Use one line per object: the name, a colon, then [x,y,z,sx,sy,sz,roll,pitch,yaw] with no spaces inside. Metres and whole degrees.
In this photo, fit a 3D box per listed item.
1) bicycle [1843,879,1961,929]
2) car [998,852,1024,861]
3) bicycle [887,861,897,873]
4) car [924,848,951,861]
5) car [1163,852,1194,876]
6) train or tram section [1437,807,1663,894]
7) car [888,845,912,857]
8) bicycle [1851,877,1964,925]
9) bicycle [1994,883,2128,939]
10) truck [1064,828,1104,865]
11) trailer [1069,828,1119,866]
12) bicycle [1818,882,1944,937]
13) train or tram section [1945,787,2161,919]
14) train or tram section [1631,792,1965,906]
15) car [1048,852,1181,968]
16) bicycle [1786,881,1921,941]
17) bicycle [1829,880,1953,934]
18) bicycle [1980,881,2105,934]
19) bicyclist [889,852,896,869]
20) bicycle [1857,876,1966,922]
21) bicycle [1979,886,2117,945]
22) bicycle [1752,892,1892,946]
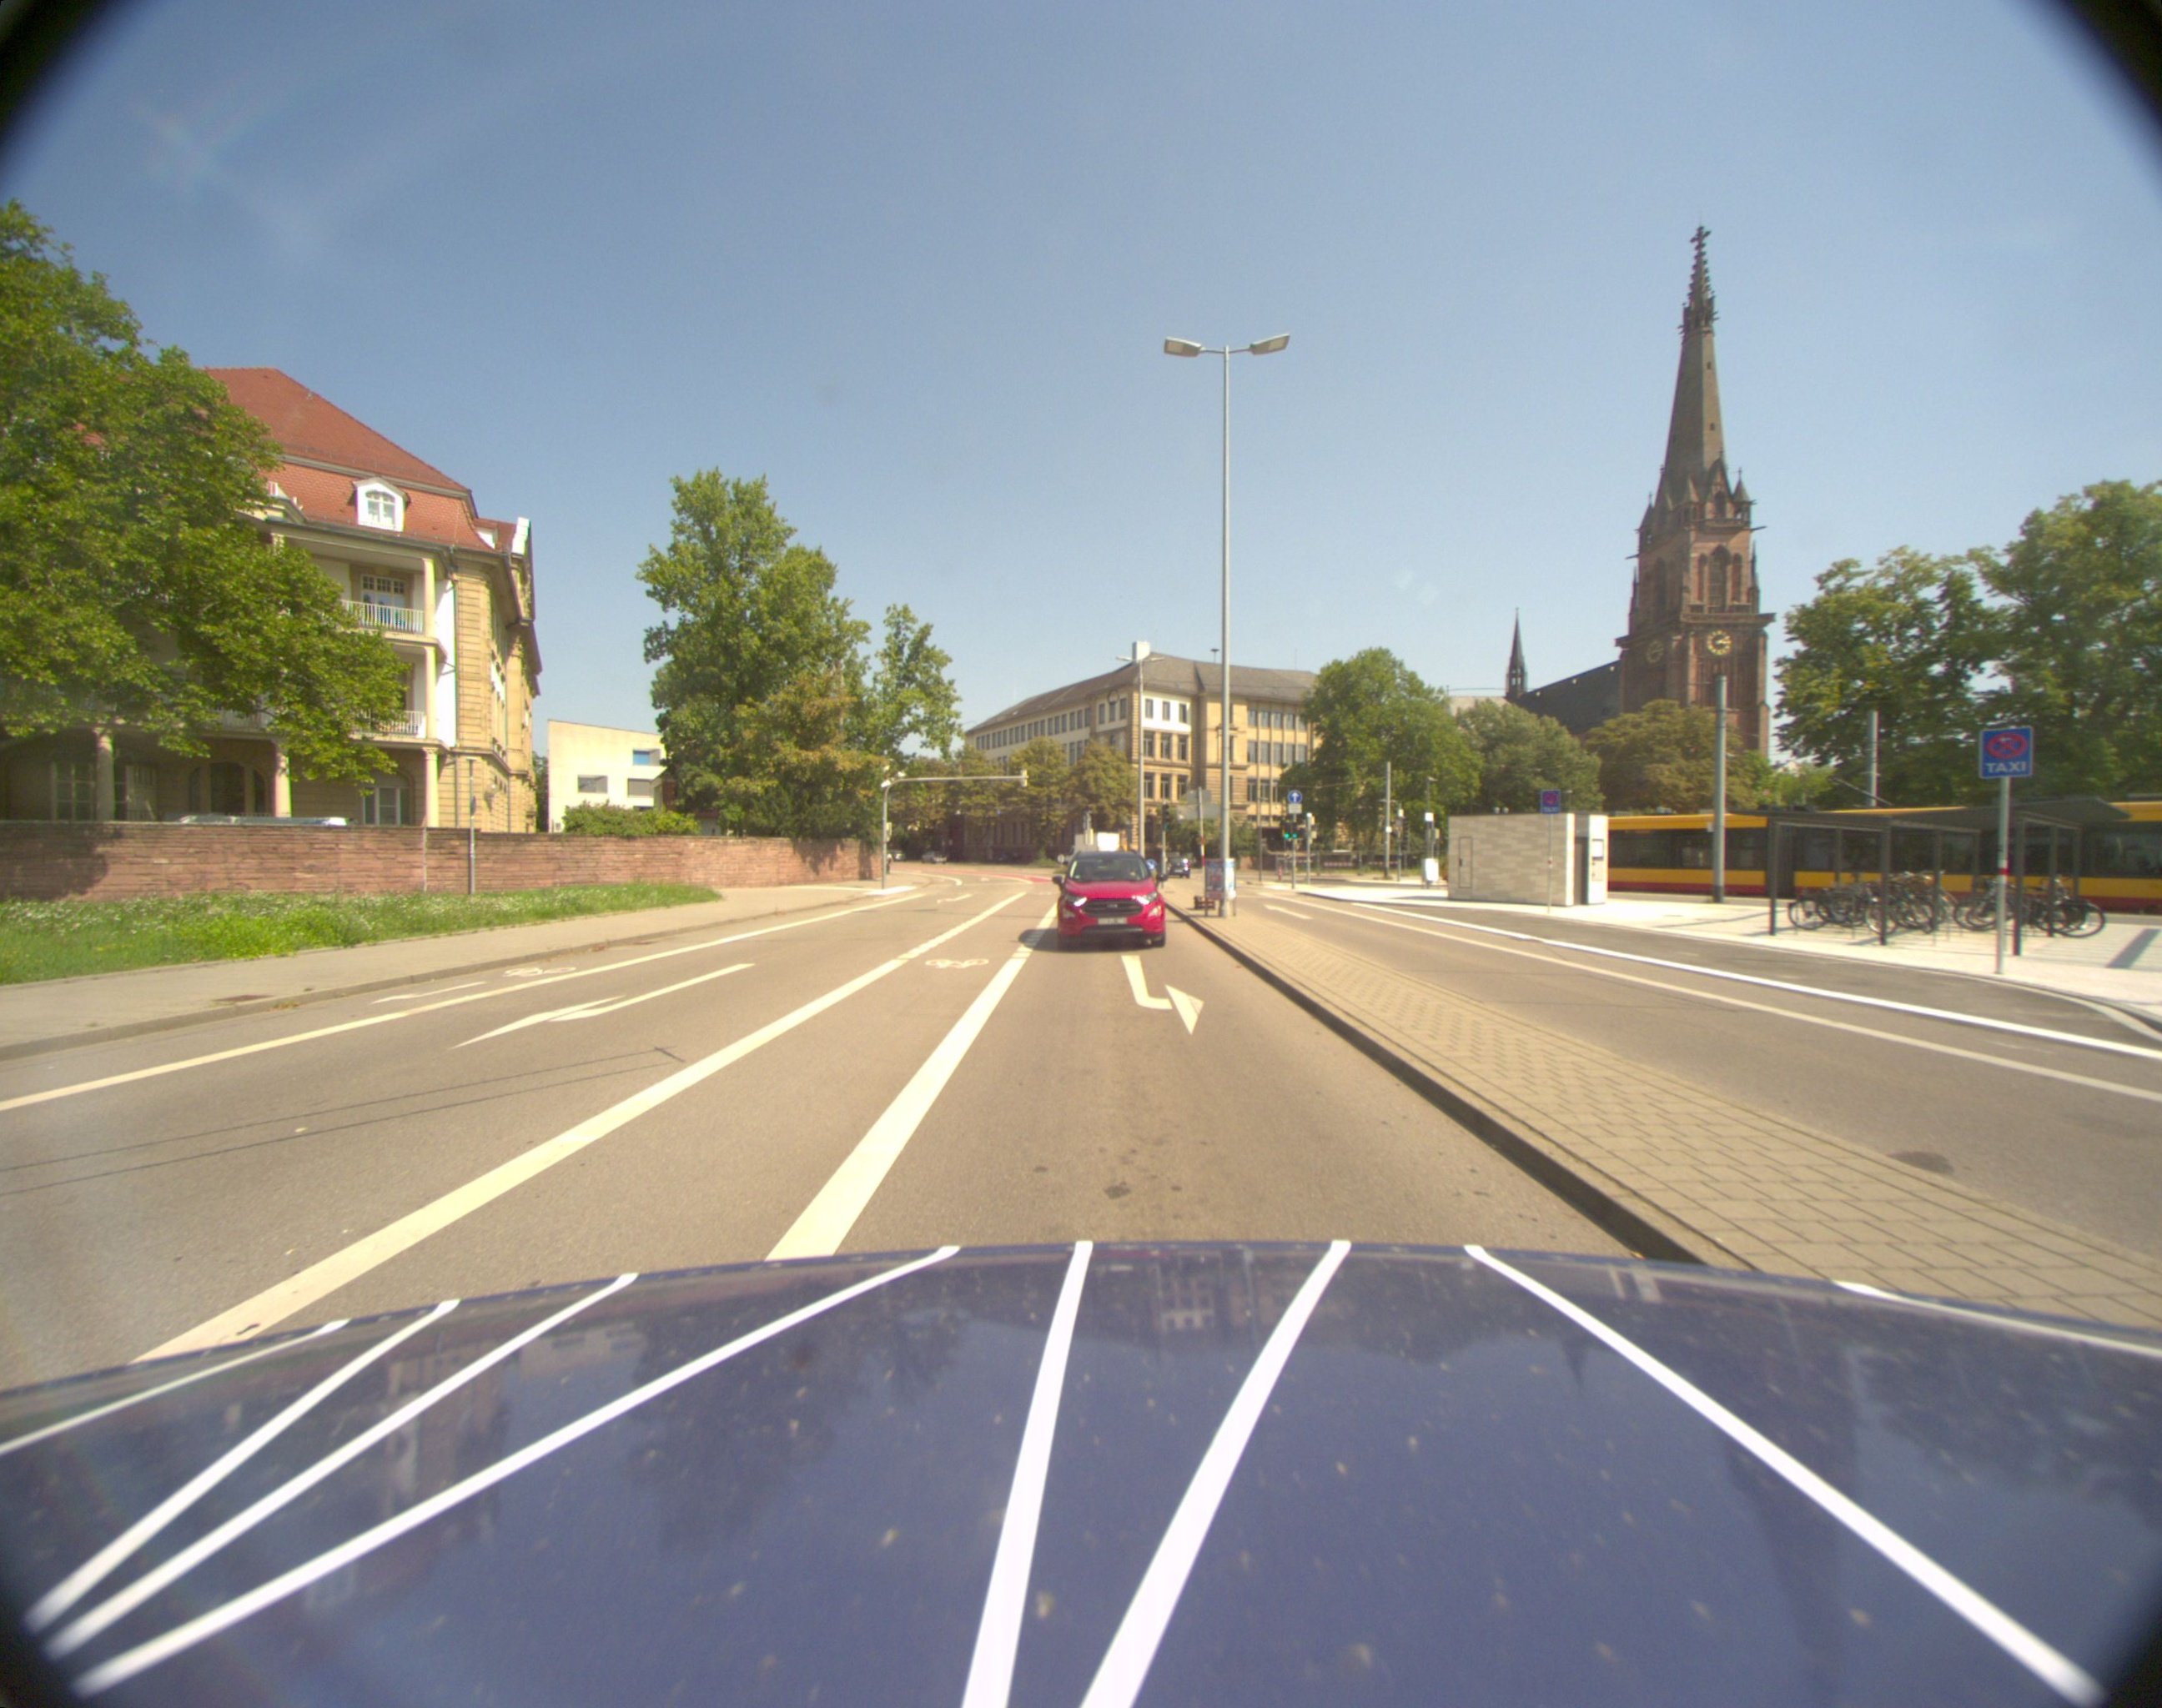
bicycle: [18.985,1.122,17.617,0.528,1.034,1.765,0,1,-31]
car: [-8.814,0.292,95.176,3.064,1.169,1.248,0,1,-38]
bicycle: [-14.085,0.971,56.693,0.437,0.807,1.485,0,1,-1]
car: [-17.599,0.062,93.145,1.891,1.587,3.989,0,1,-34]
car: [6.427,0.627,50.298,1.584,1.489,3.586,2,0,1]
train or tram section: [21.315,-0.105,35.152,3.144,3.539,8.306,1,-1,-34]
car: [-24.971,-0.379,104.792,2.004,1.660,3.989,0,0,-32]
bicycle: [19.990,1.109,18.416,0.528,1.034,1.765,0,1,-31]
bicycle: [20.090,1.142,15.613,0.413,1.034,1.636,0,1,-31]
truck: [0.225,-0.710,70.206,2.433,3.269,3.419,0,1,-27]
trailer: [1.095,-0.668,68.607,2.445,3.269,5.077,0,1,-27]
bicycle: [17.007,1.155,16.199,0.528,1.034,1.765,0,1,-31]
train or tram section: [30.750,-0.004,21.127,3.168,3.576,8.504,1,0,-34]
train or tram section: [26.015,-0.132,28.176,3.168,3.576,8.504,1,0,-34]
car: [0.510,0.792,12.833,1.844,1.605,4.000,-2,0,1]
bicycle: [15.806,1.141,15.609,0.528,1.076,1.860,0,1,-31]
bicycle: [17.611,1.126,16.565,0.528,1.034,1.765,0,1,-31]
bicycle: [21.024,1.145,16.650,0.413,1.034,1.636,0,1,-31]
bicyclist: [-14.081,0.465,56.776,0.433,1.226,0.540,0,1,-1]
bicycle: [20.878,1.110,19.141,0.528,1.034,1.765,0,1,-31]
bicycle: [19.144,1.189,15.077,0.413,1.034,1.636,0,1,-31]
bicycle: [14.552,1.242,14.983,0.492,0.878,1.893,0,1,-31]
